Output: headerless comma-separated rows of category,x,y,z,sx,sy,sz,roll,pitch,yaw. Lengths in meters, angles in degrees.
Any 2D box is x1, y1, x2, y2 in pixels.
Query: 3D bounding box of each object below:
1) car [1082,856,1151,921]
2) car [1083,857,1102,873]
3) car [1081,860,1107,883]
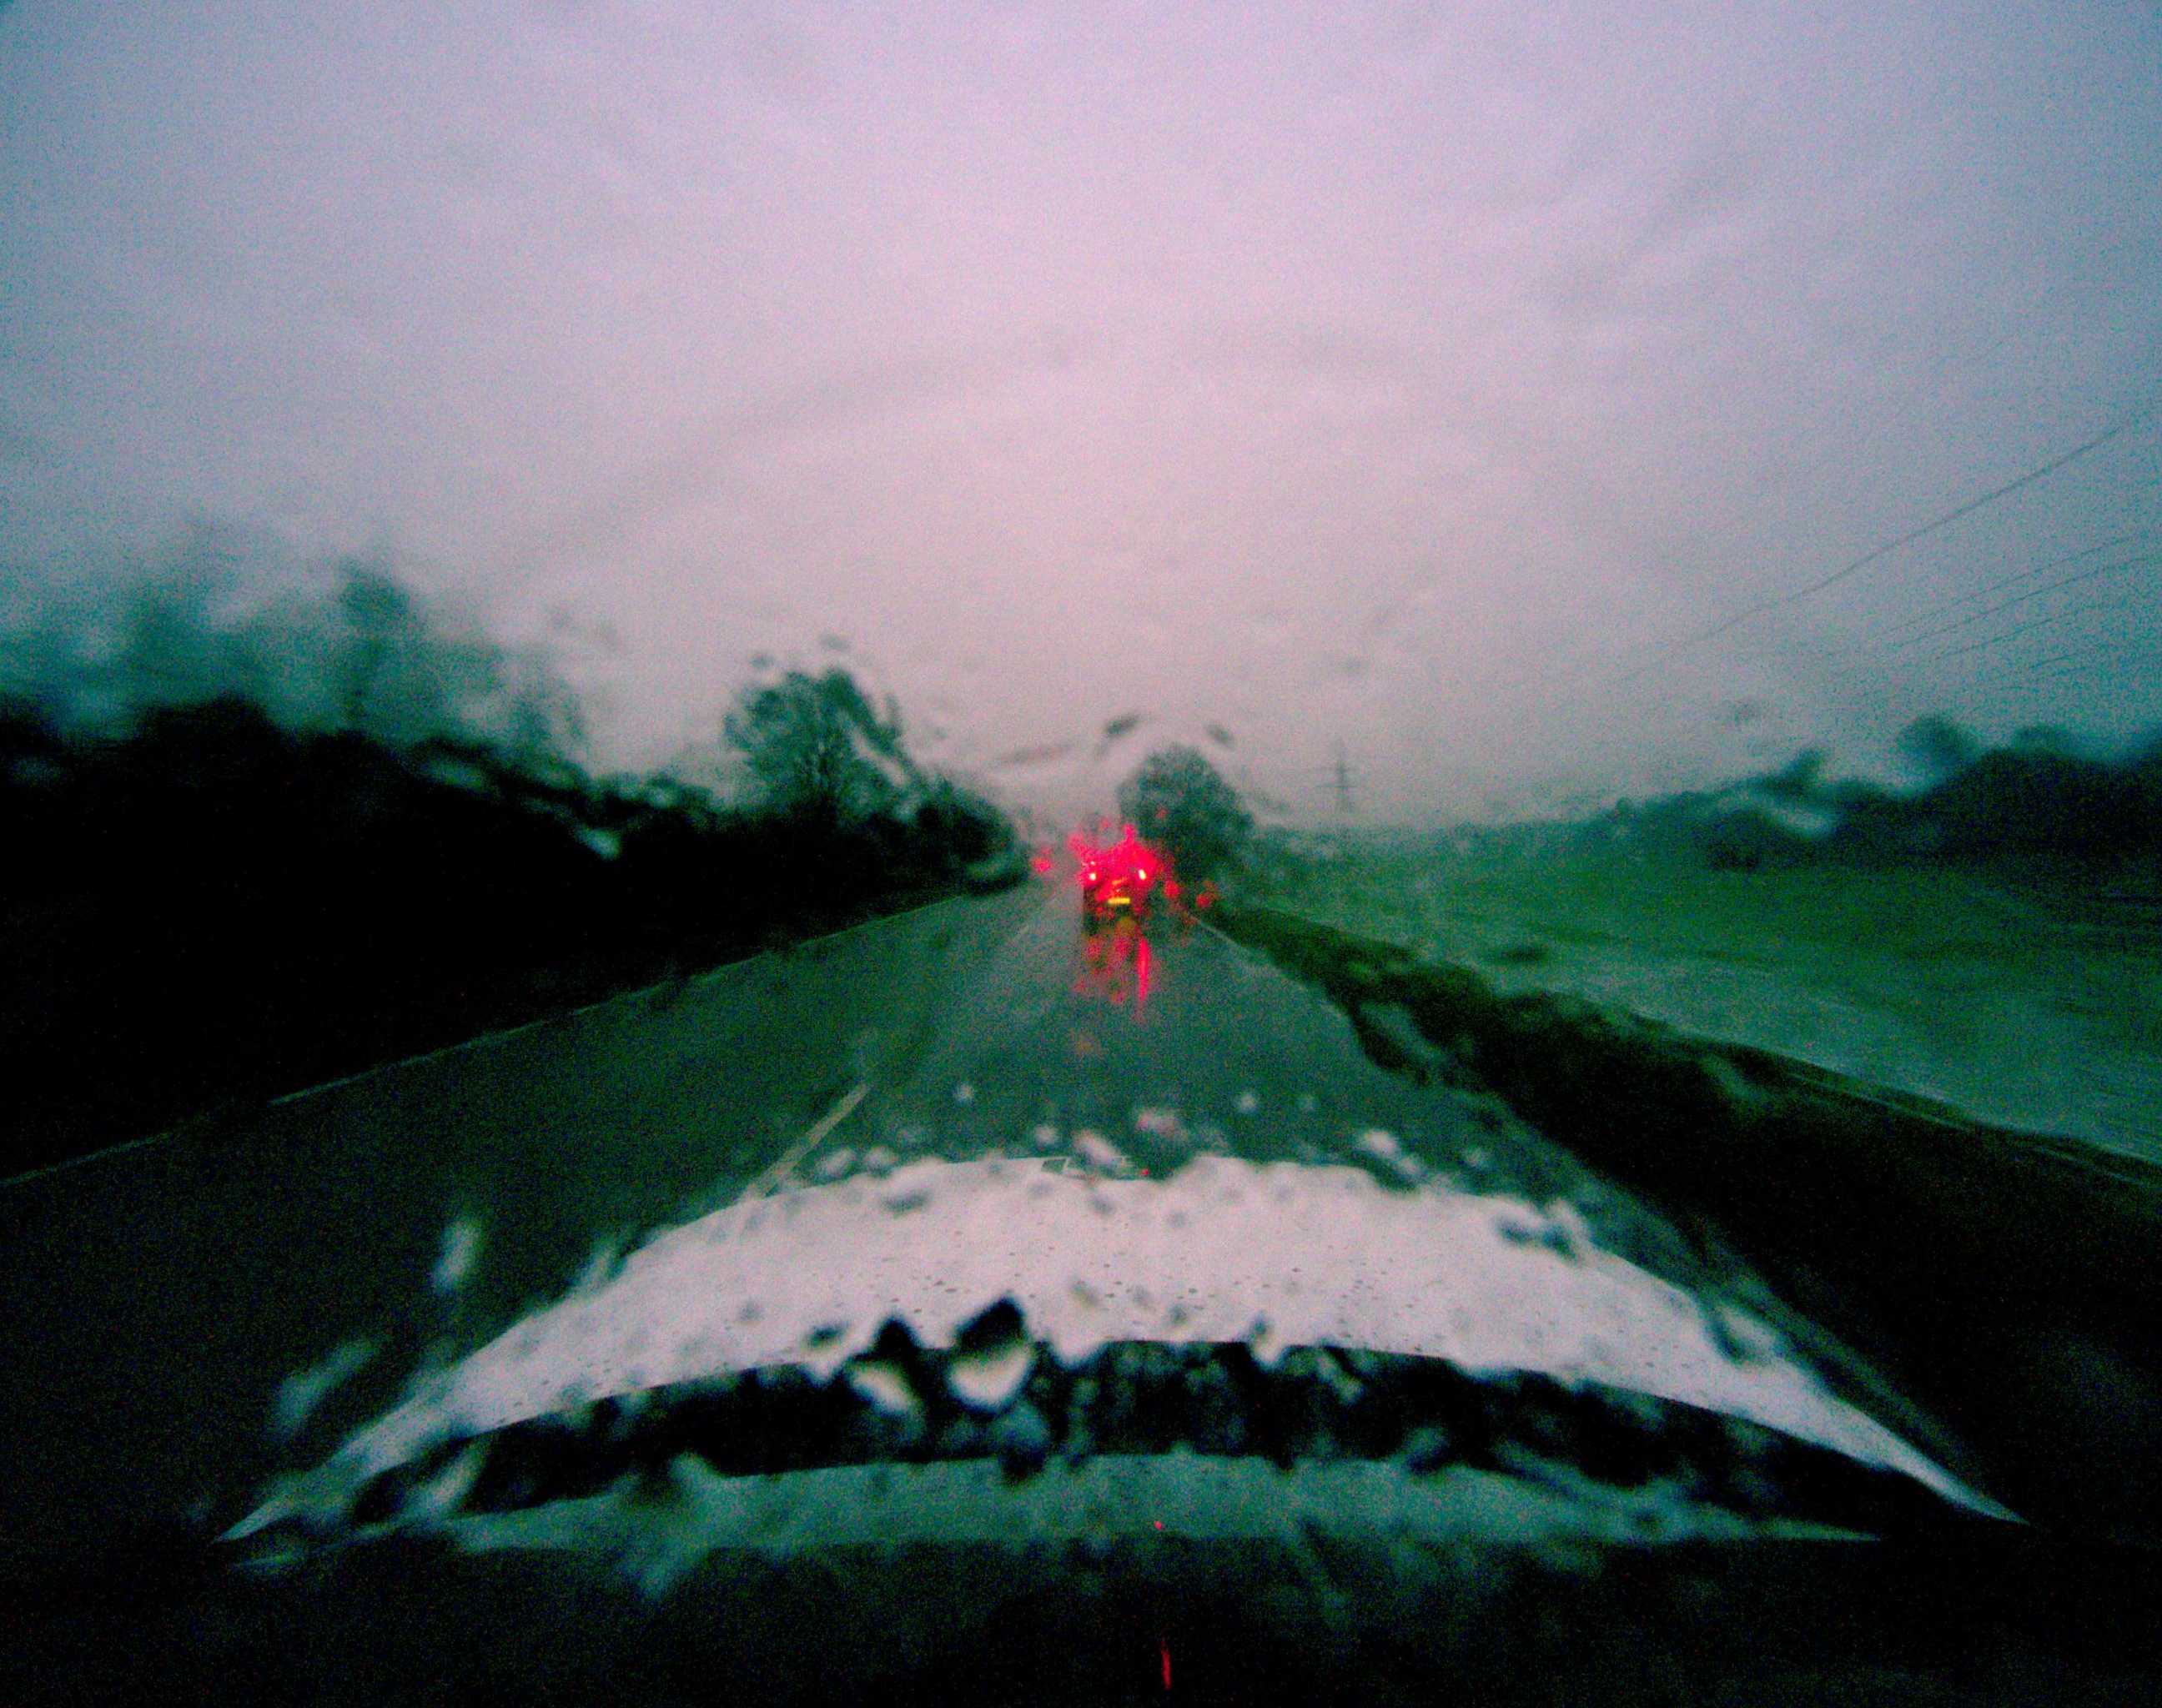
car,0.944,0.814,20.854,1.595,1.522,3.873,0,0,3
car,1.055,0.972,72.361,1.541,1.397,3.872,0,0,3
car,0.831,1.068,52.200,1.541,1.397,3.869,0,0,1
